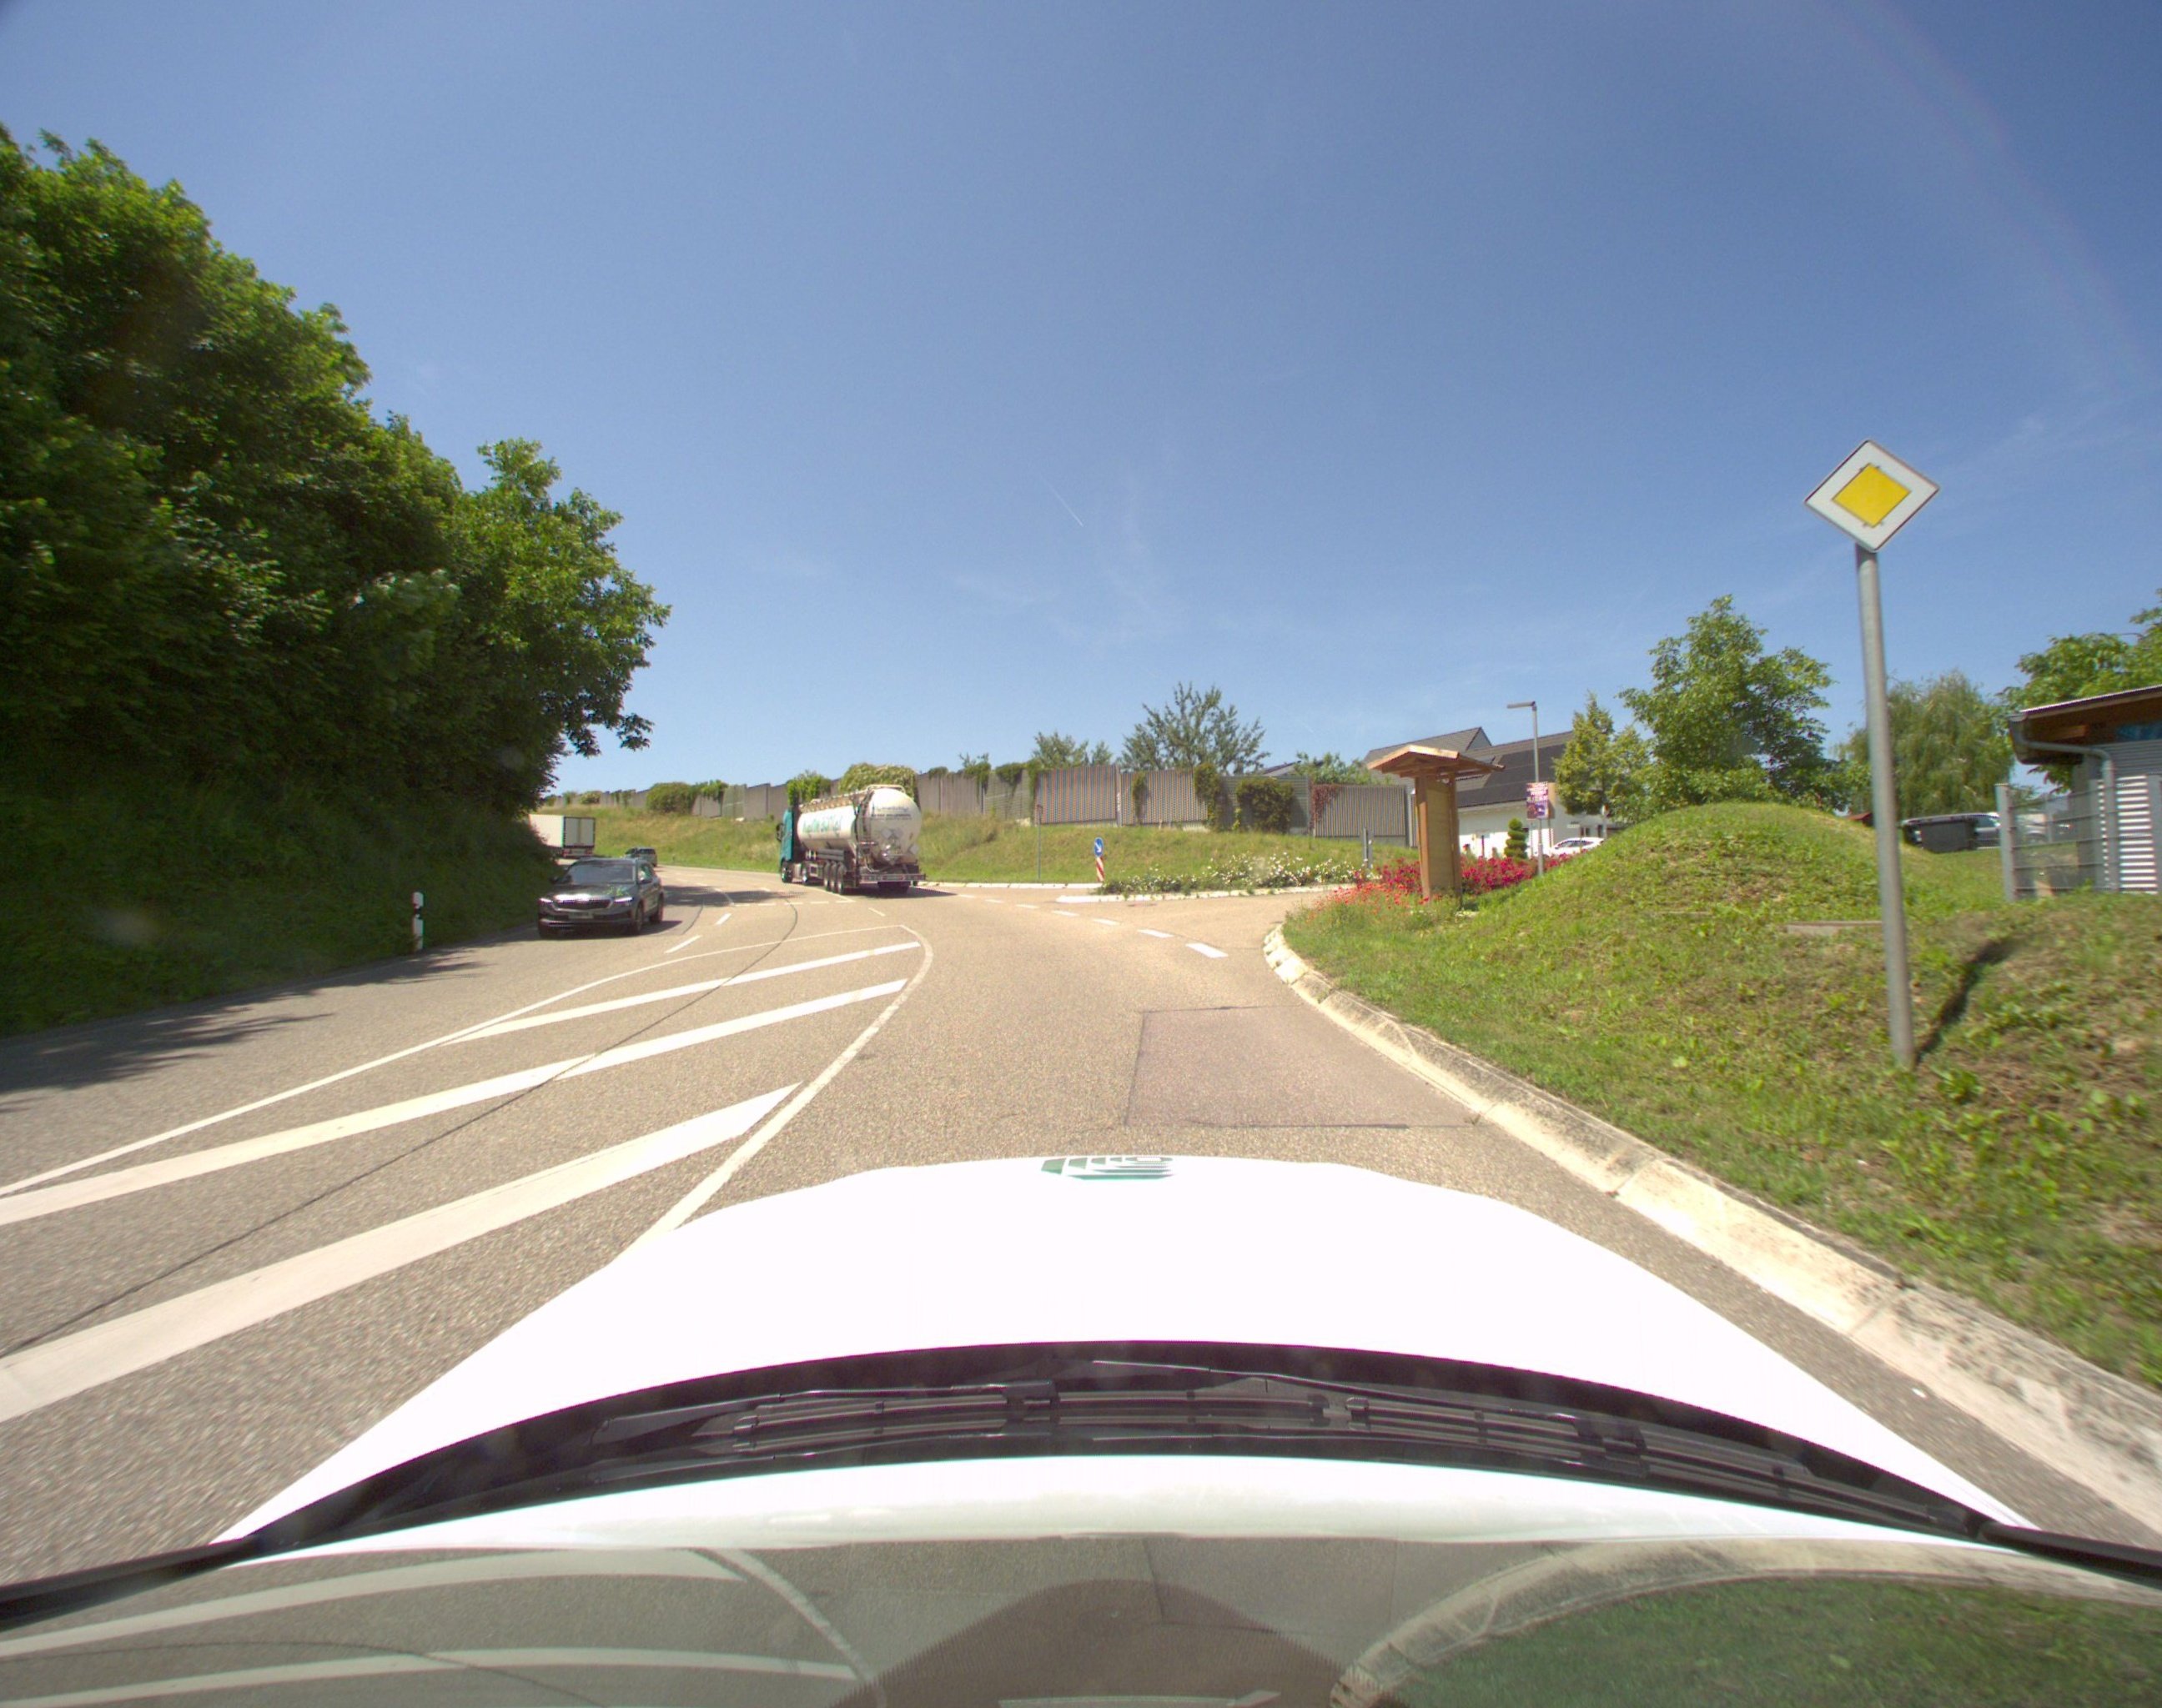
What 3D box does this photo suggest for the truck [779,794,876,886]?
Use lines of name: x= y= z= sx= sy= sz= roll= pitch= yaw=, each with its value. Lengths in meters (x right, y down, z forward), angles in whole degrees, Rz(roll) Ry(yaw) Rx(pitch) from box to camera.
truck: x=-12.100 y=-0.606 z=38.408 sx=2.745 sy=3.929 sz=7.191 roll=0 pitch=0 yaw=-31

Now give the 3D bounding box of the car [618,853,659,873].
car: x=-35.358 y=0.706 z=65.064 sx=3.593 sy=1.509 sz=1.663 roll=1 pitch=-2 yaw=42

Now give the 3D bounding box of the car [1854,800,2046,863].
car: x=28.566 y=-0.661 z=26.908 sx=1.877 sy=1.751 sz=3.961 roll=0 pitch=-3 yaw=-30

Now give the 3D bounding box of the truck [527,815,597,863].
truck: x=-50.588 y=-1.488 z=79.166 sx=3.219 sy=4.310 sz=11.655 roll=2 pitch=-1 yaw=-45

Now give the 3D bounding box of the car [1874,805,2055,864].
car: x=31.127 y=-0.612 z=28.822 sx=1.877 sy=1.751 sz=3.961 roll=0 pitch=-3 yaw=-30

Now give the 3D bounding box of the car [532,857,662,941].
car: x=-10.549 y=0.892 z=18.065 sx=1.798 sy=1.605 sz=4.150 roll=-1 pitch=0 yaw=-21

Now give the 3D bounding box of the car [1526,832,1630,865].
car: x=27.838 y=-0.352 z=45.802 sx=2.005 sy=1.655 sz=4.562 roll=4 pitch=-1 yaw=-30

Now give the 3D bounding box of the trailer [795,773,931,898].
trailer: x=-9.237 y=-0.660 z=33.074 sx=2.677 sy=4.188 sz=11.796 roll=-2 pitch=1 yaw=-28
